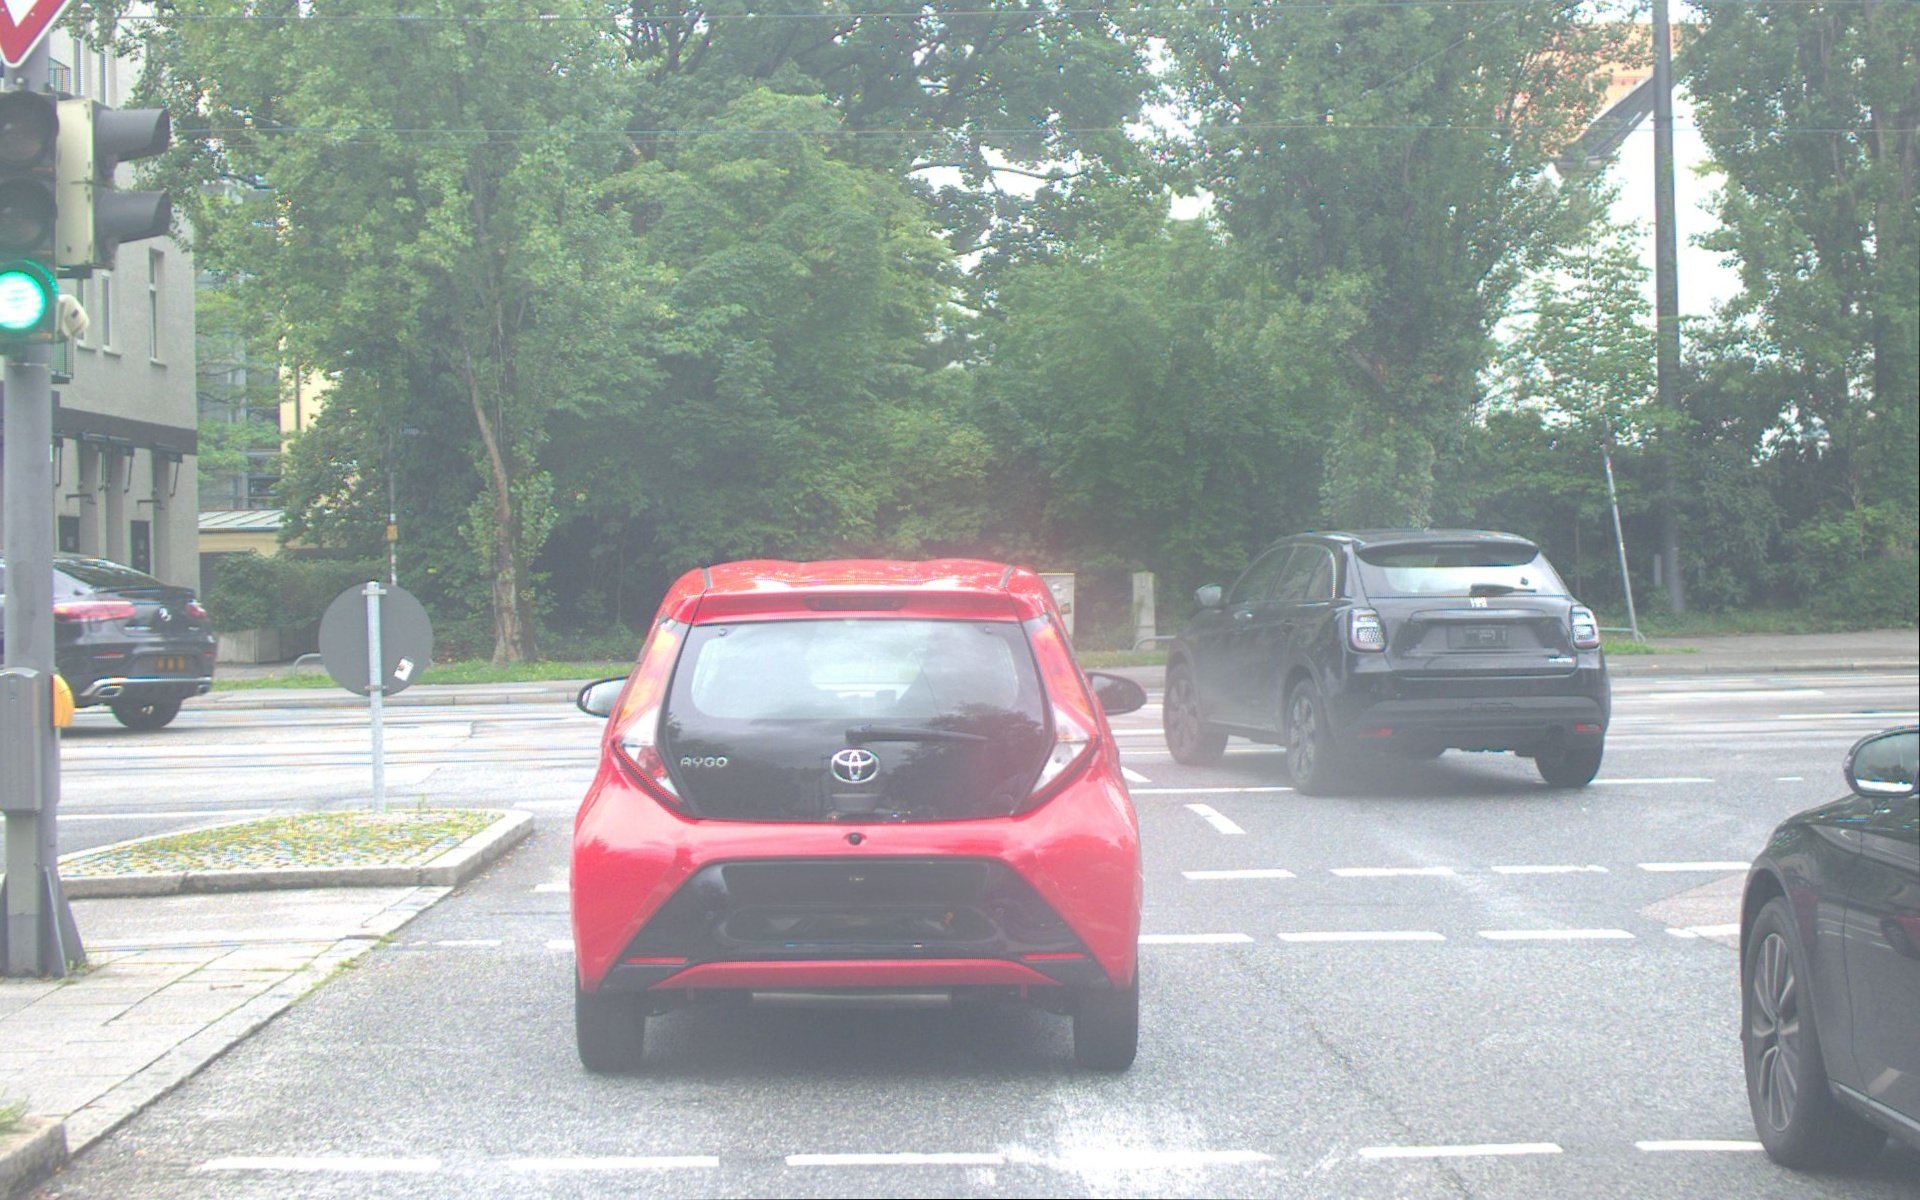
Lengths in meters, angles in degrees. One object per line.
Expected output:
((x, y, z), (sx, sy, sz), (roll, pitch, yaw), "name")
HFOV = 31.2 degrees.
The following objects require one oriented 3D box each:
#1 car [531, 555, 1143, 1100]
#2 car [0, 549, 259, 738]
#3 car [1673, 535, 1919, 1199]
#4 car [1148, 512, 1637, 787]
((-0.303, 0.593, 10.958), (1.628, 1.435, 3.376), (-1, 1, 1), "car")
((-8.149, 0.349, 30.860), (1.736, 1.544, 4.575), (-2, 1, -38), "car")
((2.799, 0.658, 6.606), (1.863, 1.544, 4.704), (1, 1, 0), "car")
((2.524, 0.262, 21.072), (1.780, 1.481, 4.001), (-1, 0, -11), "car")
